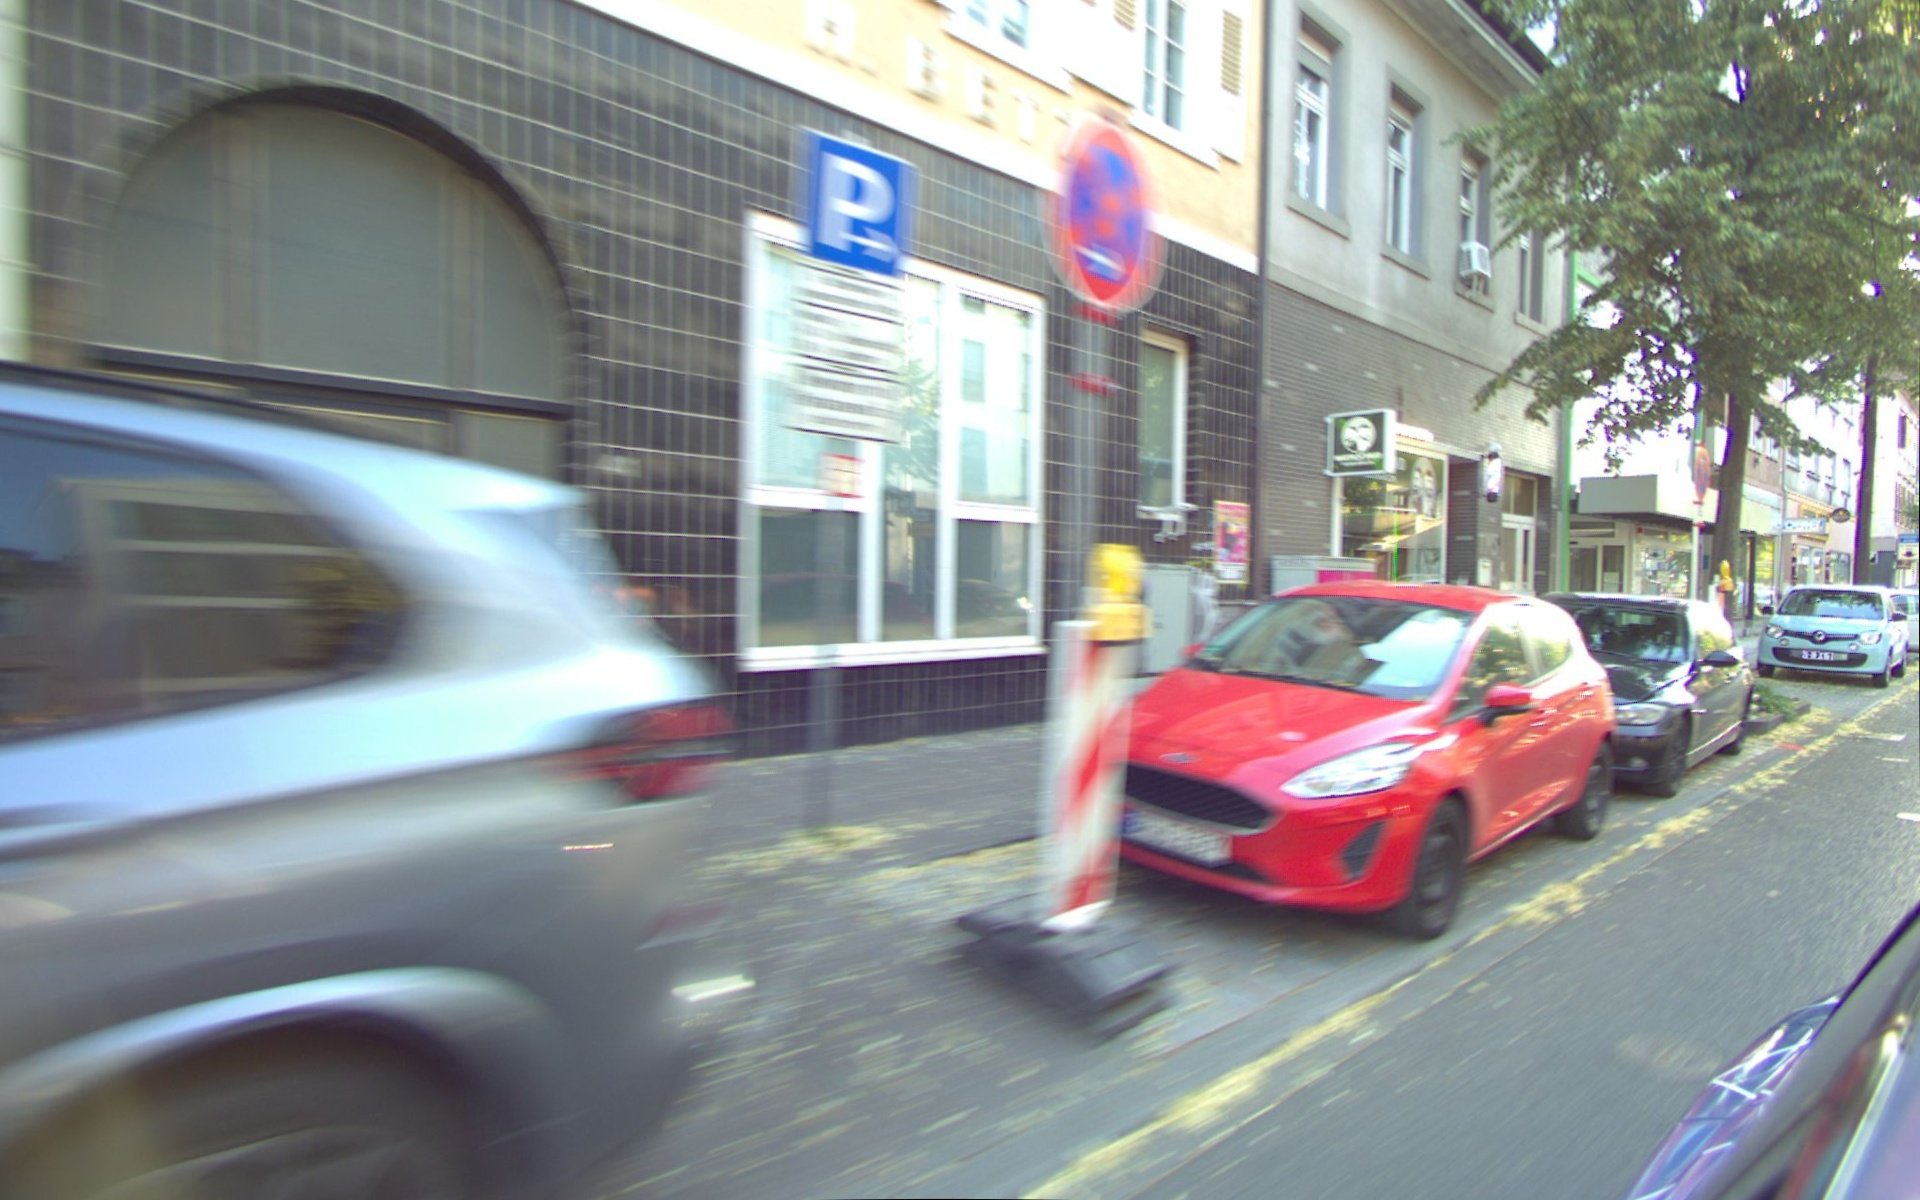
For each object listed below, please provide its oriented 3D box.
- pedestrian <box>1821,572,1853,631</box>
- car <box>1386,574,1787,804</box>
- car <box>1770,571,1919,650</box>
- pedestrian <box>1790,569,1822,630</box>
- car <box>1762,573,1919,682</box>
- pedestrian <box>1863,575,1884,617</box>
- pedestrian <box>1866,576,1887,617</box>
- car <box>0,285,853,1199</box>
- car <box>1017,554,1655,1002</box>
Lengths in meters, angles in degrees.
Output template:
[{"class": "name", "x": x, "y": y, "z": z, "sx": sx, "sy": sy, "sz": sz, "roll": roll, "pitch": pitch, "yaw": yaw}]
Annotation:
[{"class": "pedestrian", "x": 25.343, "y": 0.037, "z": 29.247, "sx": 0.657, "sy": 1.652, "sz": 0.607, "roll": 0, "pitch": 1, "yaw": -42}, {"class": "car", "x": 5.651, "y": 0.551, "z": 8.869, "sx": 4.352, "sy": 1.407, "sz": 1.954, "roll": -1, "pitch": 4, "yaw": -45}, {"class": "car", "x": 20.675, "y": 0.246, "z": 22.709, "sx": 3.555, "sy": 1.603, "sz": 1.666, "roll": 3, "pitch": 2, "yaw": 0}, {"class": "pedestrian", "x": 24.869, "y": -0.021, "z": 29.752, "sx": 0.657, "sy": 1.760, "sz": 0.607, "roll": 0, "pitch": 1, "yaw": -42}, {"class": "car", "x": 14.920, "y": 0.388, "z": 16.970, "sx": 3.492, "sy": 1.561, "sz": 1.694, "roll": 0, "pitch": 4, "yaw": -42}, {"class": "pedestrian", "x": 36.875, "y": -0.159, "z": 40.850, "sx": 0.563, "sy": 1.643, "sz": 0.493, "roll": 0, "pitch": 3, "yaw": -41}, {"class": "pedestrian", "x": 37.702, "y": -0.149, "z": 41.643, "sx": 0.563, "sy": 1.643, "sz": 0.493, "roll": 0, "pitch": 3, "yaw": -41}, {"class": "car", "x": -2.650, "y": 0.431, "z": 1.320, "sx": 4.629, "sy": 1.758, "sz": 2.043, "roll": 0, "pitch": 4, "yaw": -41}, {"class": "car", "x": 2.262, "y": 0.583, "z": 5.500, "sx": 3.837, "sy": 1.505, "sz": 1.731, "roll": -1, "pitch": 4, "yaw": -45}]
